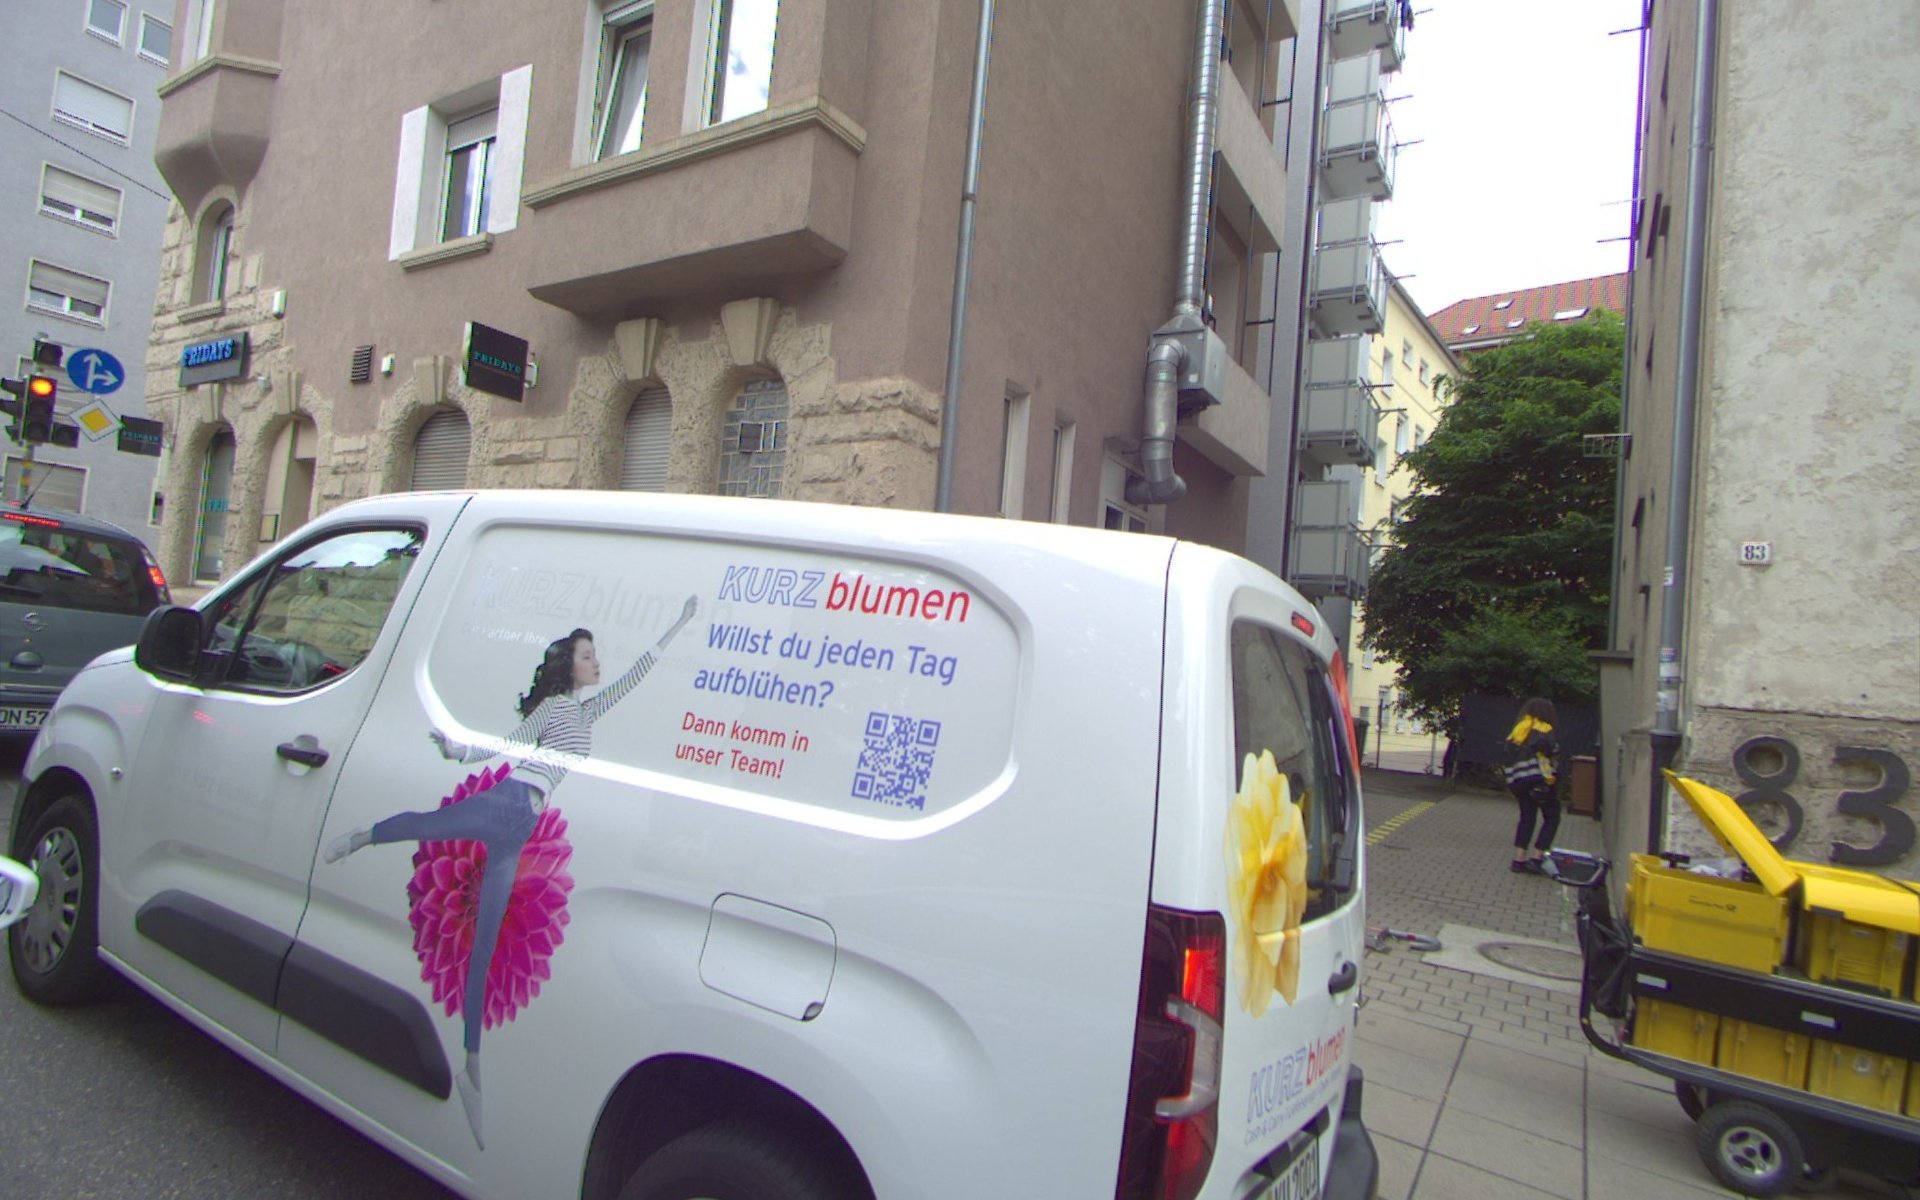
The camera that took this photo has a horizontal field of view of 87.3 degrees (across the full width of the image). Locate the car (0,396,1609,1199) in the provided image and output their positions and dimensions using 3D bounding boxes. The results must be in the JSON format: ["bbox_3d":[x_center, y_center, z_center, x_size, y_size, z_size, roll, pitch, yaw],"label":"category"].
[{"bbox_3d":[-0.882,0.588,3.129,4.597,1.793,1.983,6,-5,30],"label":"car"}]

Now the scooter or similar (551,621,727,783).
[{"bbox_3d":[-2.671,0.815,8.332,1.400,1.117,0.527,6,-1,34],"label":"scooter or similar"}]

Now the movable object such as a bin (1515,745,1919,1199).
[{"bbox_3d":[3.393,1.457,3.965,1.979,1.391,1.223,6,-1,30],"label":"movable object such as a bin"}]

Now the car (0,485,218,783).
[{"bbox_3d":[-6.714,0.046,6.532,3.608,1.614,1.634,6,-5,32],"label":"car"}]

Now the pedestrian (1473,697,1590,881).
[{"bbox_3d":[5.603,1.814,9.914,0.769,1.665,0.812,2,-3,11],"label":"pedestrian"}]

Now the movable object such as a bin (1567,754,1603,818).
[{"bbox_3d":[9.927,2.944,15.985,0.405,0.922,0.340,6,-1,32],"label":"movable object such as a bin"}]
